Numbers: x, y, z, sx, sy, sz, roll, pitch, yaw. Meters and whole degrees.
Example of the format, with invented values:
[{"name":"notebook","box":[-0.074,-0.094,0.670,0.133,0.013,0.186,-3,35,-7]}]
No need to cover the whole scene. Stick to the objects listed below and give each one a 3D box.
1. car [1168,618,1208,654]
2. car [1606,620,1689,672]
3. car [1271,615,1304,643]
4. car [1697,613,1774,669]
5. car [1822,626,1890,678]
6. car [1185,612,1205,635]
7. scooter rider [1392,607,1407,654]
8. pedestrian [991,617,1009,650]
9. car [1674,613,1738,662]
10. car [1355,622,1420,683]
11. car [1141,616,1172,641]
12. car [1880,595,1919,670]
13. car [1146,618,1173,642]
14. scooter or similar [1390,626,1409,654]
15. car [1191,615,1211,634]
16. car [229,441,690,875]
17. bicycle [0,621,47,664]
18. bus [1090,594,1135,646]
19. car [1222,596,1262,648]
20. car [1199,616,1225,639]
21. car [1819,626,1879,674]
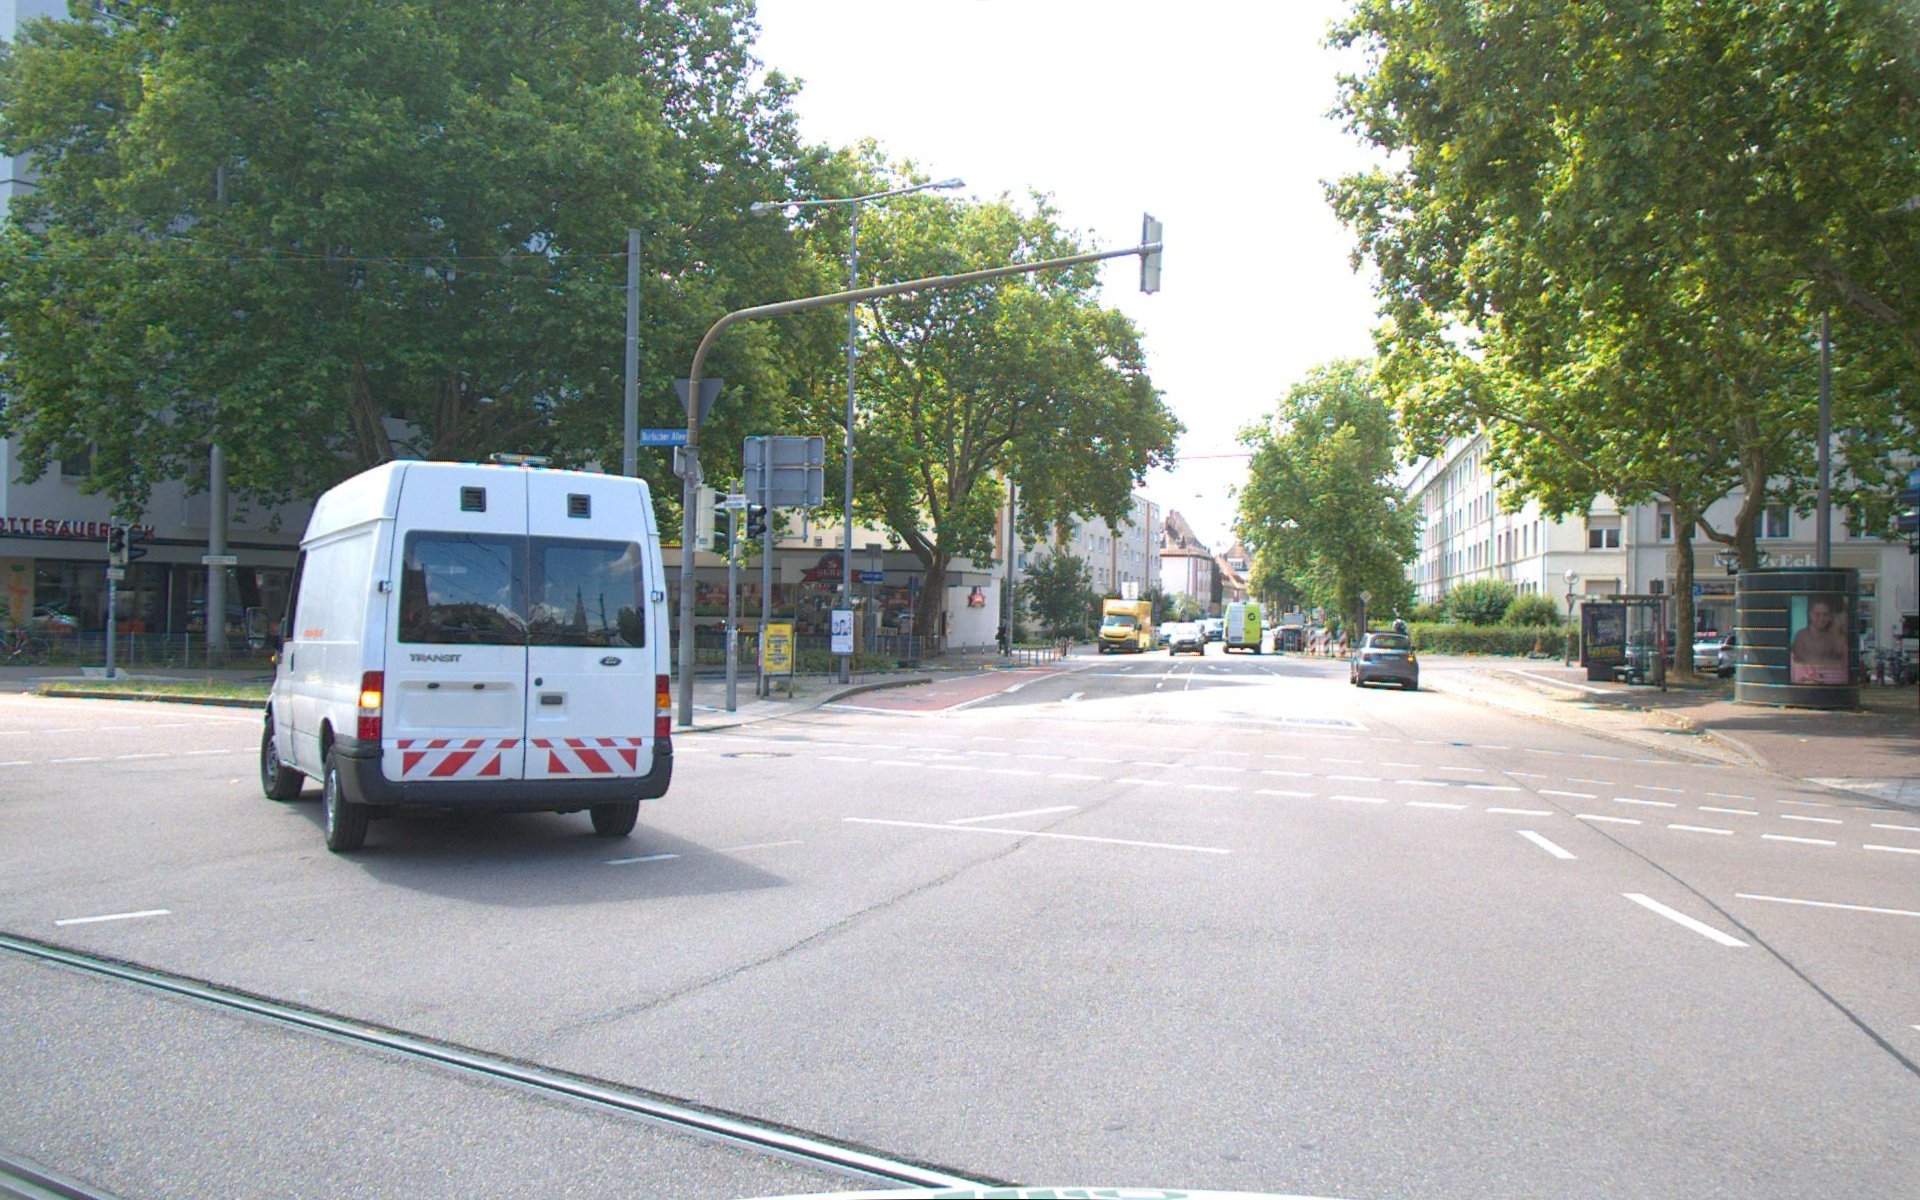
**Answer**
[{"name":"car","box":[11.485,1.787,83.174,1.748,1.690,4.319,0,0,11]},{"name":"car","box":[22.862,1.483,54.912,1.990,1.628,4.530,0,-1,30]},{"name":"car","box":[19.016,1.662,96.108,1.688,1.582,3.636,0,-1,9]},{"name":"car","box":[25.105,1.281,53.454,1.870,1.719,4.530,0,-1,30]},{"name":"car","box":[25.752,1.465,47.597,1.436,1.413,3.066,0,-1,23]},{"name":"car","box":[20.967,2.055,147.456,1.617,1.965,3.752,0,0,11]},{"name":"scooter rider","box":[17.575,1.223,66.189,0.515,1.843,0.649,0,0,7]},{"name":"pedestrian","box":[1.867,1.558,77.229,0.655,1.505,0.576,1,-1,16]},{"name":"car","box":[28.859,1.404,63.909,1.869,1.827,4.712,0,-1,29]},{"name":"car","box":[11.984,1.450,46.515,1.655,1.565,3.471,0,0,13]},{"name":"car","box":[12.928,1.882,108.922,1.806,1.590,4.003,0,-1,10]},{"name":"car","box":[29.195,0.971,50.226,1.958,2.221,4.246,0,-1,32]},{"name":"car","box":[14.772,2.191,122.475,1.692,1.690,3.752,0,0,11]},{"name":"scooter or similar","box":[17.581,1.597,66.176,0.537,1.110,1.292,0,0,7]},{"name":"car","box":[22.665,2.270,155.459,1.624,1.690,3.752,0,0,11]},{"name":"car","box":[-3.713,0.322,11.596,2.026,2.374,4.664,1,0,-31]},{"name":"bicycle","box":[-22.677,1.008,39.313,1.706,1.027,0.528,0,-1,-32]},{"name":"bus","box":[8.525,1.103,92.136,2.343,2.756,6.374,0,-1,6]},{"name":"car","box":[15.123,1.155,88.873,2.074,2.687,6.333,0,0,9]},{"name":"car","box":[19.872,2.142,130.393,1.822,1.690,3.752,0,0,11]},{"name":"car","box":[27.518,1.530,51.245,1.436,1.413,3.233,0,-1,25]}]
